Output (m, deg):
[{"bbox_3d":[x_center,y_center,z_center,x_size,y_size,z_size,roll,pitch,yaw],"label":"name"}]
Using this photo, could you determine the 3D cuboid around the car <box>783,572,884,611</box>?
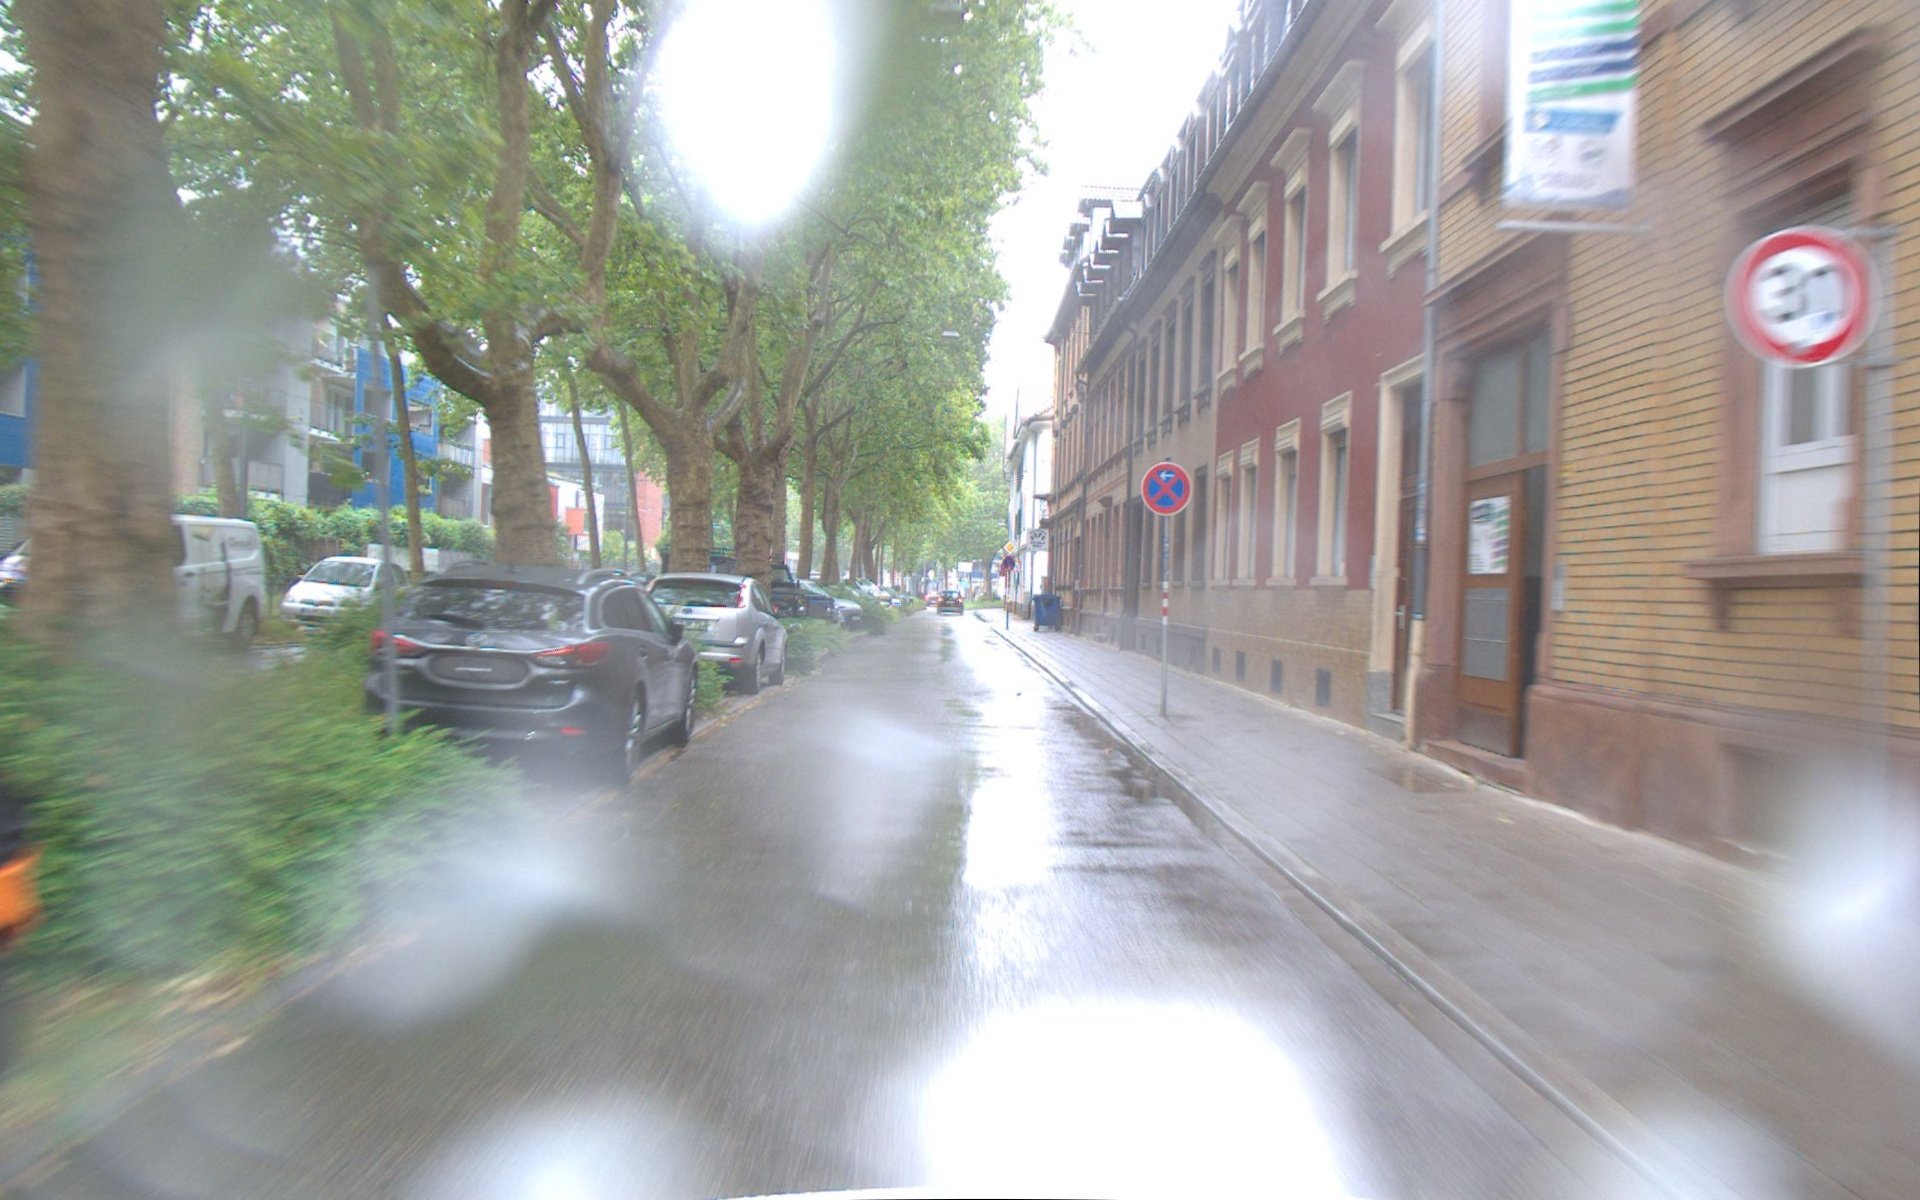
[{"bbox_3d":[-6.701,-0.475,87.295,5.020,2.012,2.098,1,0,30],"label":"car"}]

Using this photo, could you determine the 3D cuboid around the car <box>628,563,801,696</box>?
[{"bbox_3d":[-3.228,0.340,22.480,1.694,1.541,4.207,3,1,-1],"label":"car"}]

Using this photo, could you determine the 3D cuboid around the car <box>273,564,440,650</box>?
[{"bbox_3d":[-12.014,0.105,33.225,1.866,1.560,4.214,2,1,-2],"label":"car"}]

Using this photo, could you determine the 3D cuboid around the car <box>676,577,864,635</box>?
[{"bbox_3d":[-4.915,0.134,42.687,4.555,1.349,1.845,1,0,27],"label":"car"}]

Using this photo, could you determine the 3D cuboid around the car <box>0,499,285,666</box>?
[{"bbox_3d":[-11.819,-0.269,24.025,2.014,2.032,5.430,4,1,-4],"label":"car"}]

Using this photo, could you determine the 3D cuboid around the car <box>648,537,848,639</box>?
[{"bbox_3d":[-5.133,-0.311,39.930,4.562,2.323,2.006,1,0,33],"label":"car"}]

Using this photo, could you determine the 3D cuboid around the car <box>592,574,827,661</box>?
[{"bbox_3d":[-4.627,0.298,30.501,3.953,1.460,1.780,1,0,25],"label":"car"}]

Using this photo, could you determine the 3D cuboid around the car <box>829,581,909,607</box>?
[{"bbox_3d":[-5.324,-0.347,96.840,4.461,1.508,1.771,1,0,30],"label":"car"}]

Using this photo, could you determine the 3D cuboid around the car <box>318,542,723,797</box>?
[{"bbox_3d":[-3.109,0.414,12.763,1.857,1.511,4.621,3,1,-1],"label":"car"}]

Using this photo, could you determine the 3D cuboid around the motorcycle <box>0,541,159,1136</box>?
[{"bbox_3d":[-3.223,0.575,4.916,2.073,1.526,0.766,3,0,43],"label":"motorcycle"}]

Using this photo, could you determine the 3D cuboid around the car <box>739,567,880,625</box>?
[{"bbox_3d":[-4.663,-0.134,51.016,3.977,1.564,1.832,3,1,30],"label":"car"}]

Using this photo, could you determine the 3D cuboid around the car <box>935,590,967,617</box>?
[{"bbox_3d":[-0.613,0.226,107.698,1.953,1.668,3.999,3,0,-1],"label":"car"}]

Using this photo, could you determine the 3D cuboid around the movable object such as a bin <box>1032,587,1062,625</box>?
[{"bbox_3d":[3.173,0.213,60.406,1.000,1.324,1.367,-2,1,-1],"label":"movable object such as a bin"}]

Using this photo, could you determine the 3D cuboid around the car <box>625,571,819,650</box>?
[{"bbox_3d":[-4.748,0.188,32.959,3.424,1.461,1.779,1,0,27],"label":"car"}]
